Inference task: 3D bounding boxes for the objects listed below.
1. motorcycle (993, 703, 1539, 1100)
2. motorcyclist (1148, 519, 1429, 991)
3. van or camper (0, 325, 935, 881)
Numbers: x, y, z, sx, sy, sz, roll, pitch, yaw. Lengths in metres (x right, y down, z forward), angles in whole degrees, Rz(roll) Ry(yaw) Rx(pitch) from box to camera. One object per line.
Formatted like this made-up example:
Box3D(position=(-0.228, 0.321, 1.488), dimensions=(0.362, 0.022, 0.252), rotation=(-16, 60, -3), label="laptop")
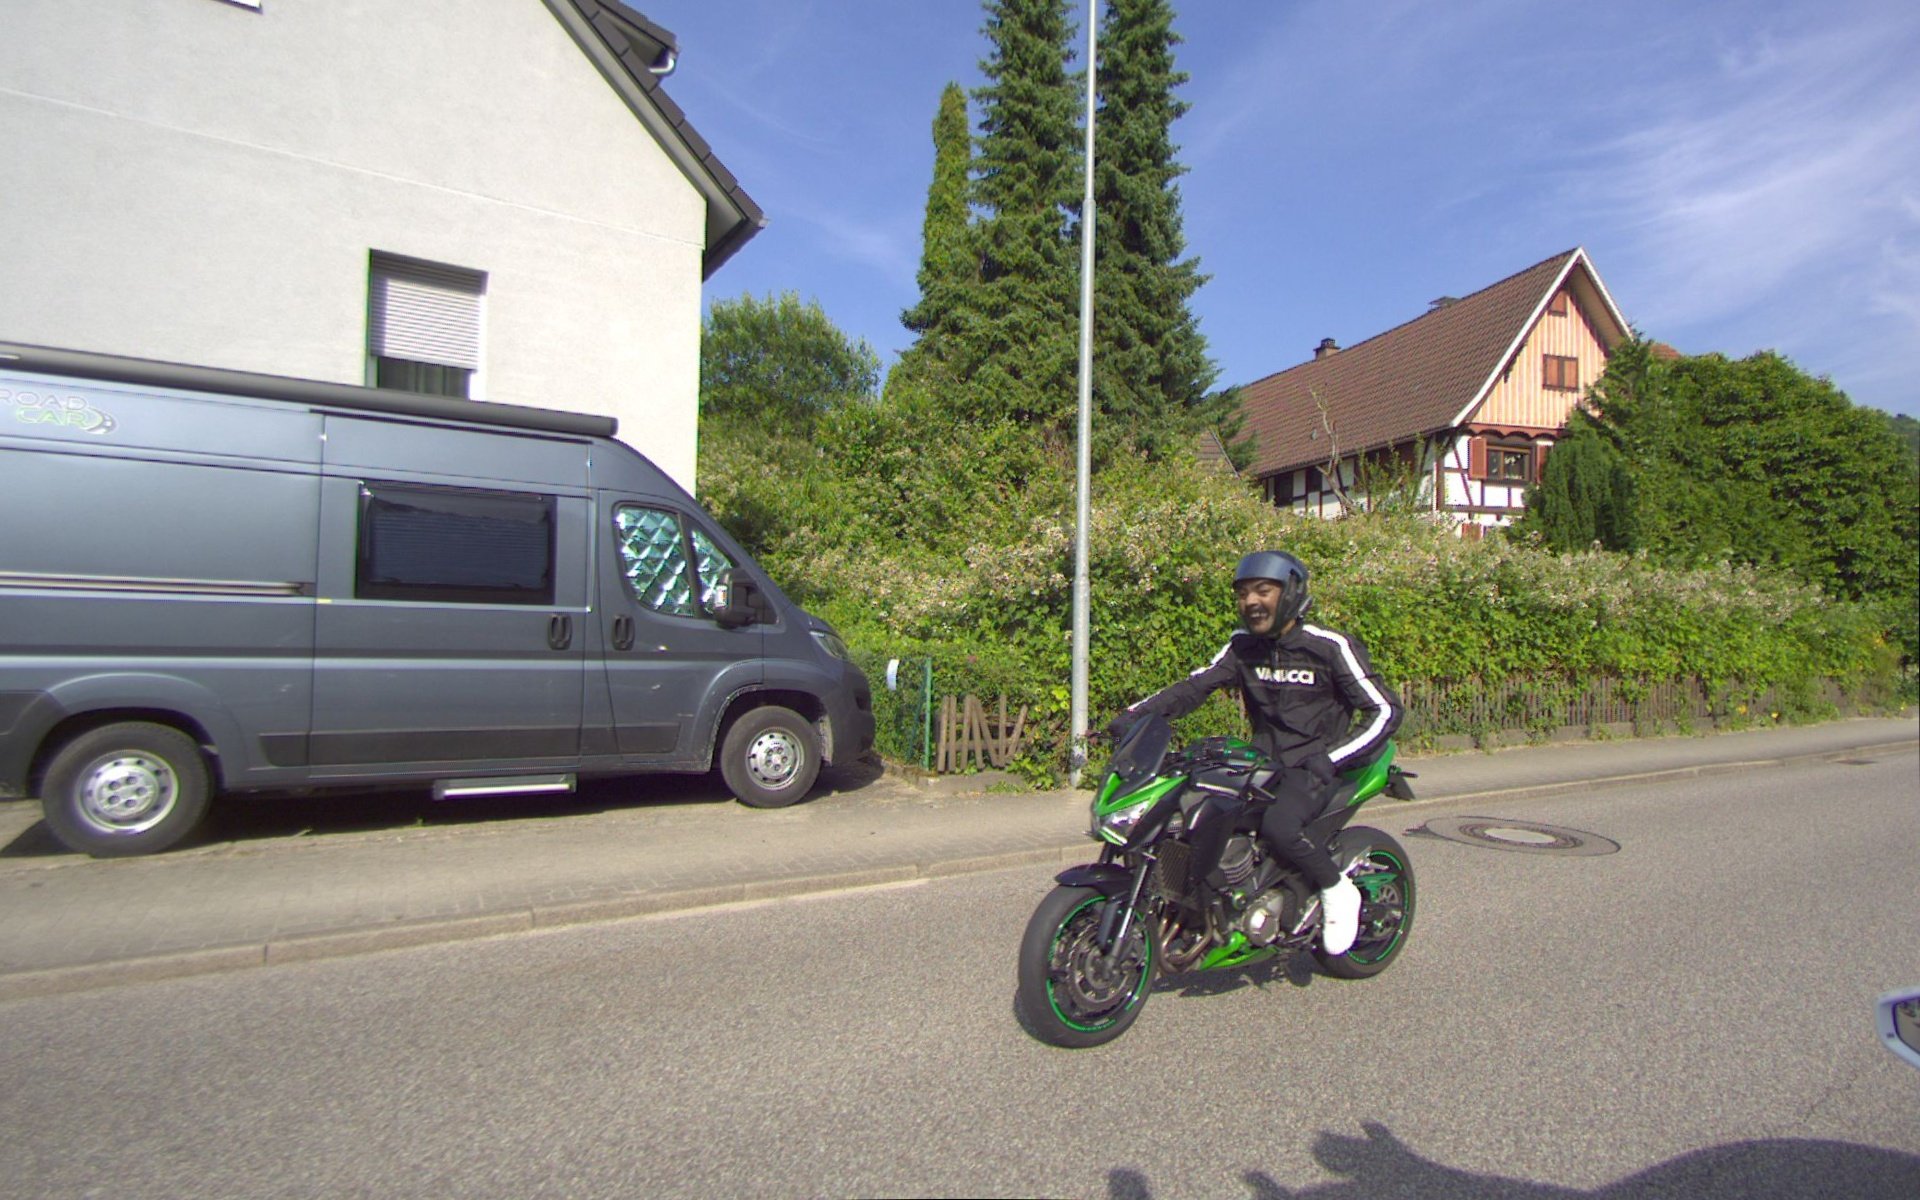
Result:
Box3D(position=(1.223, 0.984, 3.806), dimensions=(2.155, 1.082, 0.651), rotation=(2, -1, -28), label="motorcycle")
Box3D(position=(1.240, 0.531, 3.882), dimensions=(0.620, 1.578, 0.823), rotation=(2, -1, -27), label="motorcyclist")
Box3D(position=(-3.240, 0.069, 6.628), dimensions=(5.831, 2.589, 2.138), rotation=(2, -1, -30), label="van or camper")
